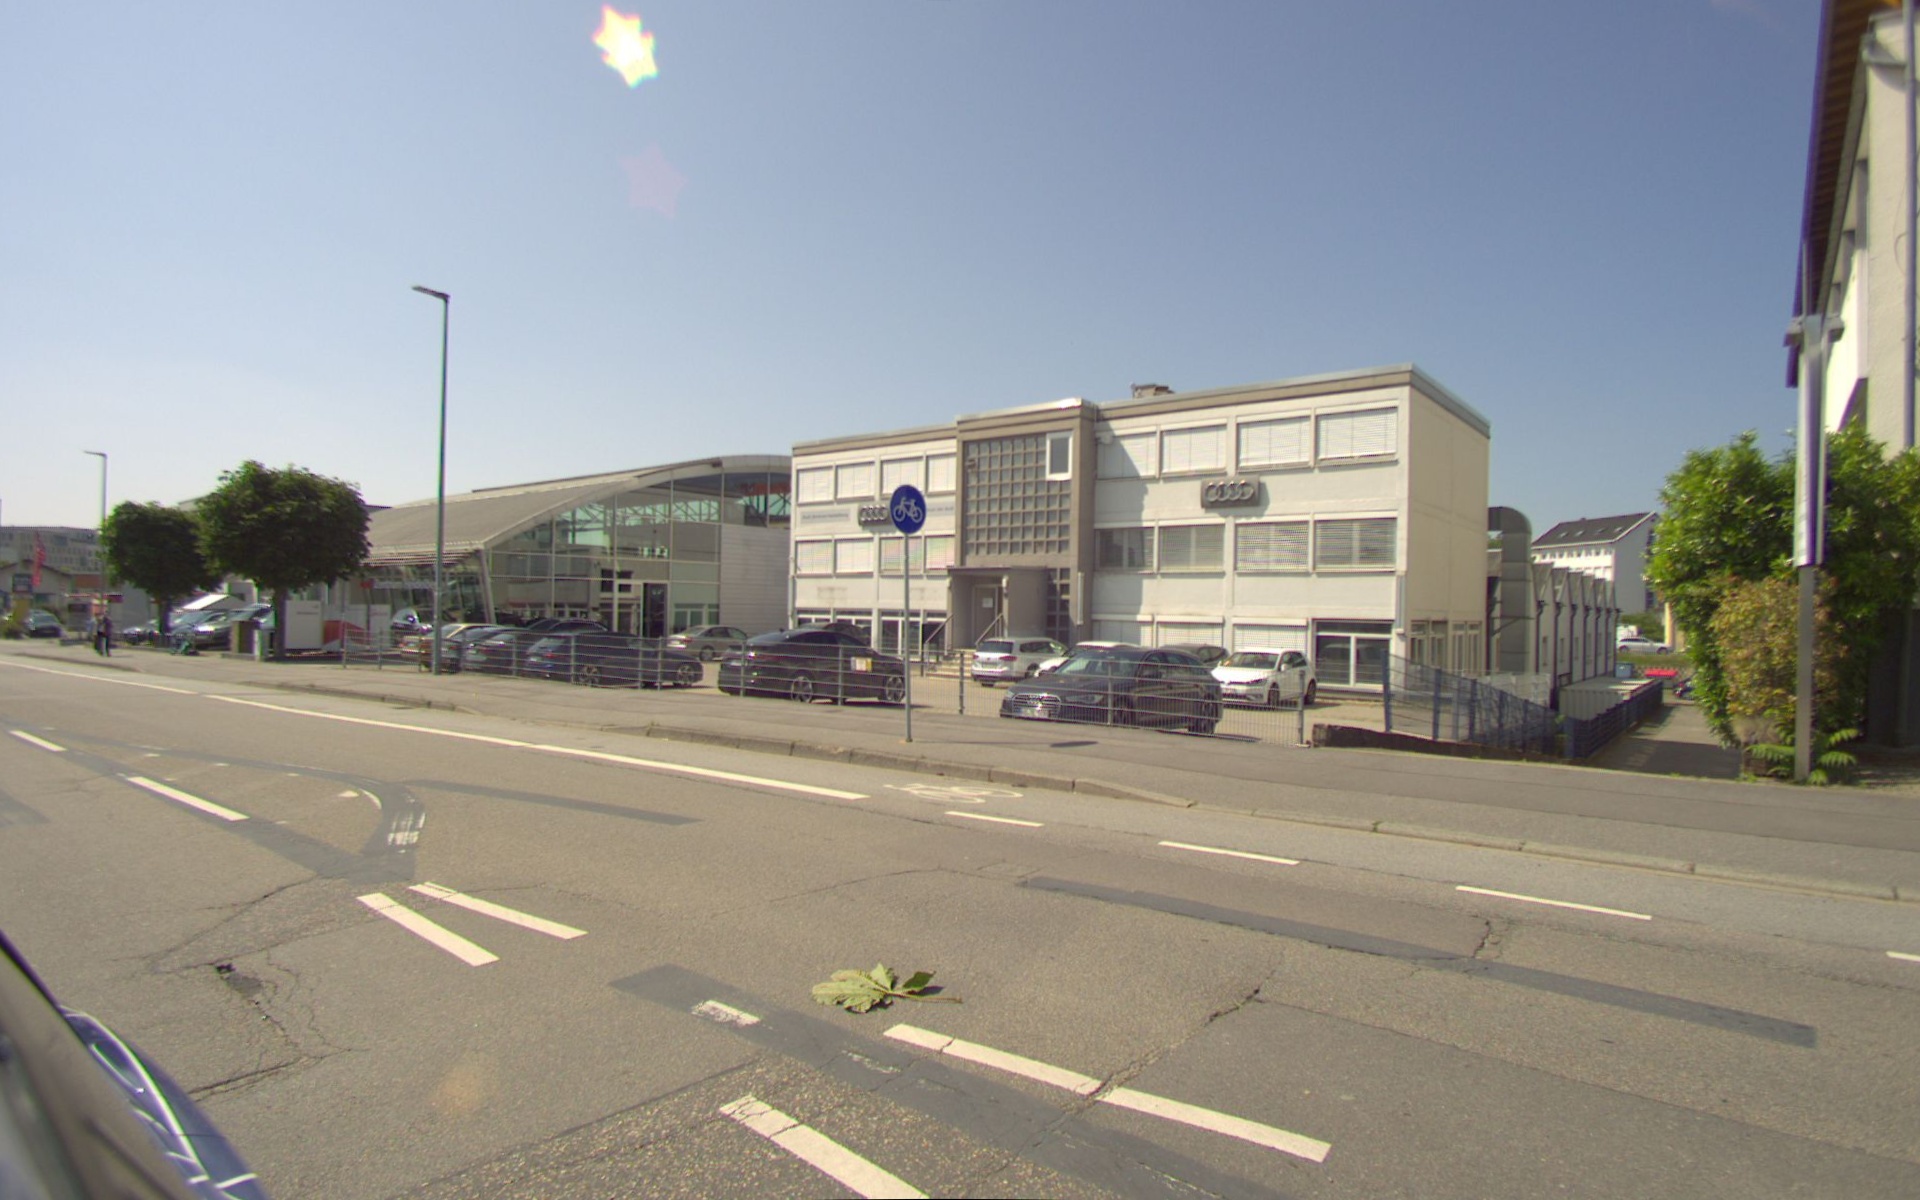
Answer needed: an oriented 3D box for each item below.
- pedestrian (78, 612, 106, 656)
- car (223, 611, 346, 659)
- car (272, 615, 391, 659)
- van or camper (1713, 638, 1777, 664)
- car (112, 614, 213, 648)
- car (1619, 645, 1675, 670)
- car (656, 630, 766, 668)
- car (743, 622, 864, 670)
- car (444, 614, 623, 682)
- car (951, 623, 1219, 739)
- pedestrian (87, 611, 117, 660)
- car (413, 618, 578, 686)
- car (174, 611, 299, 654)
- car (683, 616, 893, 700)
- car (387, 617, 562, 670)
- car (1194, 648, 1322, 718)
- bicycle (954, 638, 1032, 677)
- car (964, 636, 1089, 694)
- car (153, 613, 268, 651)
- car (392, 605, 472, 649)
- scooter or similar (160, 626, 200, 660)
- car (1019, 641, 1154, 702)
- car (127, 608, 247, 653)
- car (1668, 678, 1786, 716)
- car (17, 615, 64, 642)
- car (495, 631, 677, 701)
[{"bbox_3d":[-37.000,1.455,43.140,0.910,1.862,0.716,-1,-2,39],"label":"pedestrian"},{"bbox_3d":[-27.438,1.369,41.302,1.886,1.720,4.477,0,1,3],"label":"car"},{"bbox_3d":[-24.329,1.397,39.360,1.837,1.562,3.990,0,0,8],"label":"car"},{"bbox_3d":[65.685,4.257,84.750,4.044,2.029,1.977,-1,-2,34],"label":"van or camper"},{"bbox_3d":[-38.863,1.487,49.470,1.879,1.470,4.165,0,0,-4],"label":"car"},{"bbox_3d":[59.813,4.960,88.191,3.988,2.029,1.978,-1,-2,33],"label":"car"},{"bbox_3d":[-9.826,1.899,40.144,1.857,1.370,3.948,0,-1,38],"label":"car"},{"bbox_3d":[-5.569,1.586,36.470,1.855,1.565,4.315,0,-1,36],"label":"car"},{"bbox_3d":[-11.373,1.325,27.199,1.856,1.454,3.951,0,-7,36],"label":"car"},{"bbox_3d":[2.092,1.112,15.645,2.045,1.492,4.694,0,-1,37],"label":"car"},{"bbox_3d":[-33.436,1.373,39.438,1.046,1.882,0.725,-1,-2,41],"label":"pedestrian"},{"bbox_3d":[-13.131,1.399,28.784,1.820,1.455,3.856,2,4,35],"label":"car"},{"bbox_3d":[-30.177,1.316,42.419,1.835,1.709,4.575,0,0,3],"label":"car"},{"bbox_3d":[-3.529,1.143,21.477,1.991,1.570,4.259,0,-1,35],"label":"car"},{"bbox_3d":[-14.780,1.283,31.012,1.897,1.468,4.482,0,-1,37],"label":"car"},{"bbox_3d":[7.655,2.036,25.822,1.856,1.472,3.949,0,-1,37],"label":"car"},{"bbox_3d":[1.100,1.919,34.018,2.572,1.187,0.917,-1,-1,37],"label":"bicycle"},{"bbox_3d":[2.050,1.879,30.168,1.856,1.557,3.949,0,-2,37],"label":"car"},{"bbox_3d":[-33.105,1.373,44.856,1.850,1.506,4.199,0,1,3],"label":"car"},{"bbox_3d":[-21.748,1.066,41.639,1.969,1.696,4.005,1,-1,-42],"label":"car"},{"bbox_3d":[-30.035,1.649,38.970,1.485,1.257,0.738,0,-1,31],"label":"scooter or similar"},{"bbox_3d":[3.627,1.949,28.536,1.816,1.413,3.944,2,1,42],"label":"car"},{"bbox_3d":[-36.205,1.398,47.556,1.940,1.620,4.479,-4,2,4],"label":"car"},{"bbox_3d":[36.923,4.649,48.782,4.446,1.518,2.128,-1,-2,40],"label":"car"},{"bbox_3d":[-61.388,1.882,67.552,3.998,1.728,1.885,-1,-2,41],"label":"car"},{"bbox_3d":[-9.369,1.595,25.646,1.855,1.501,3.952,2,0,35],"label":"car"}]
